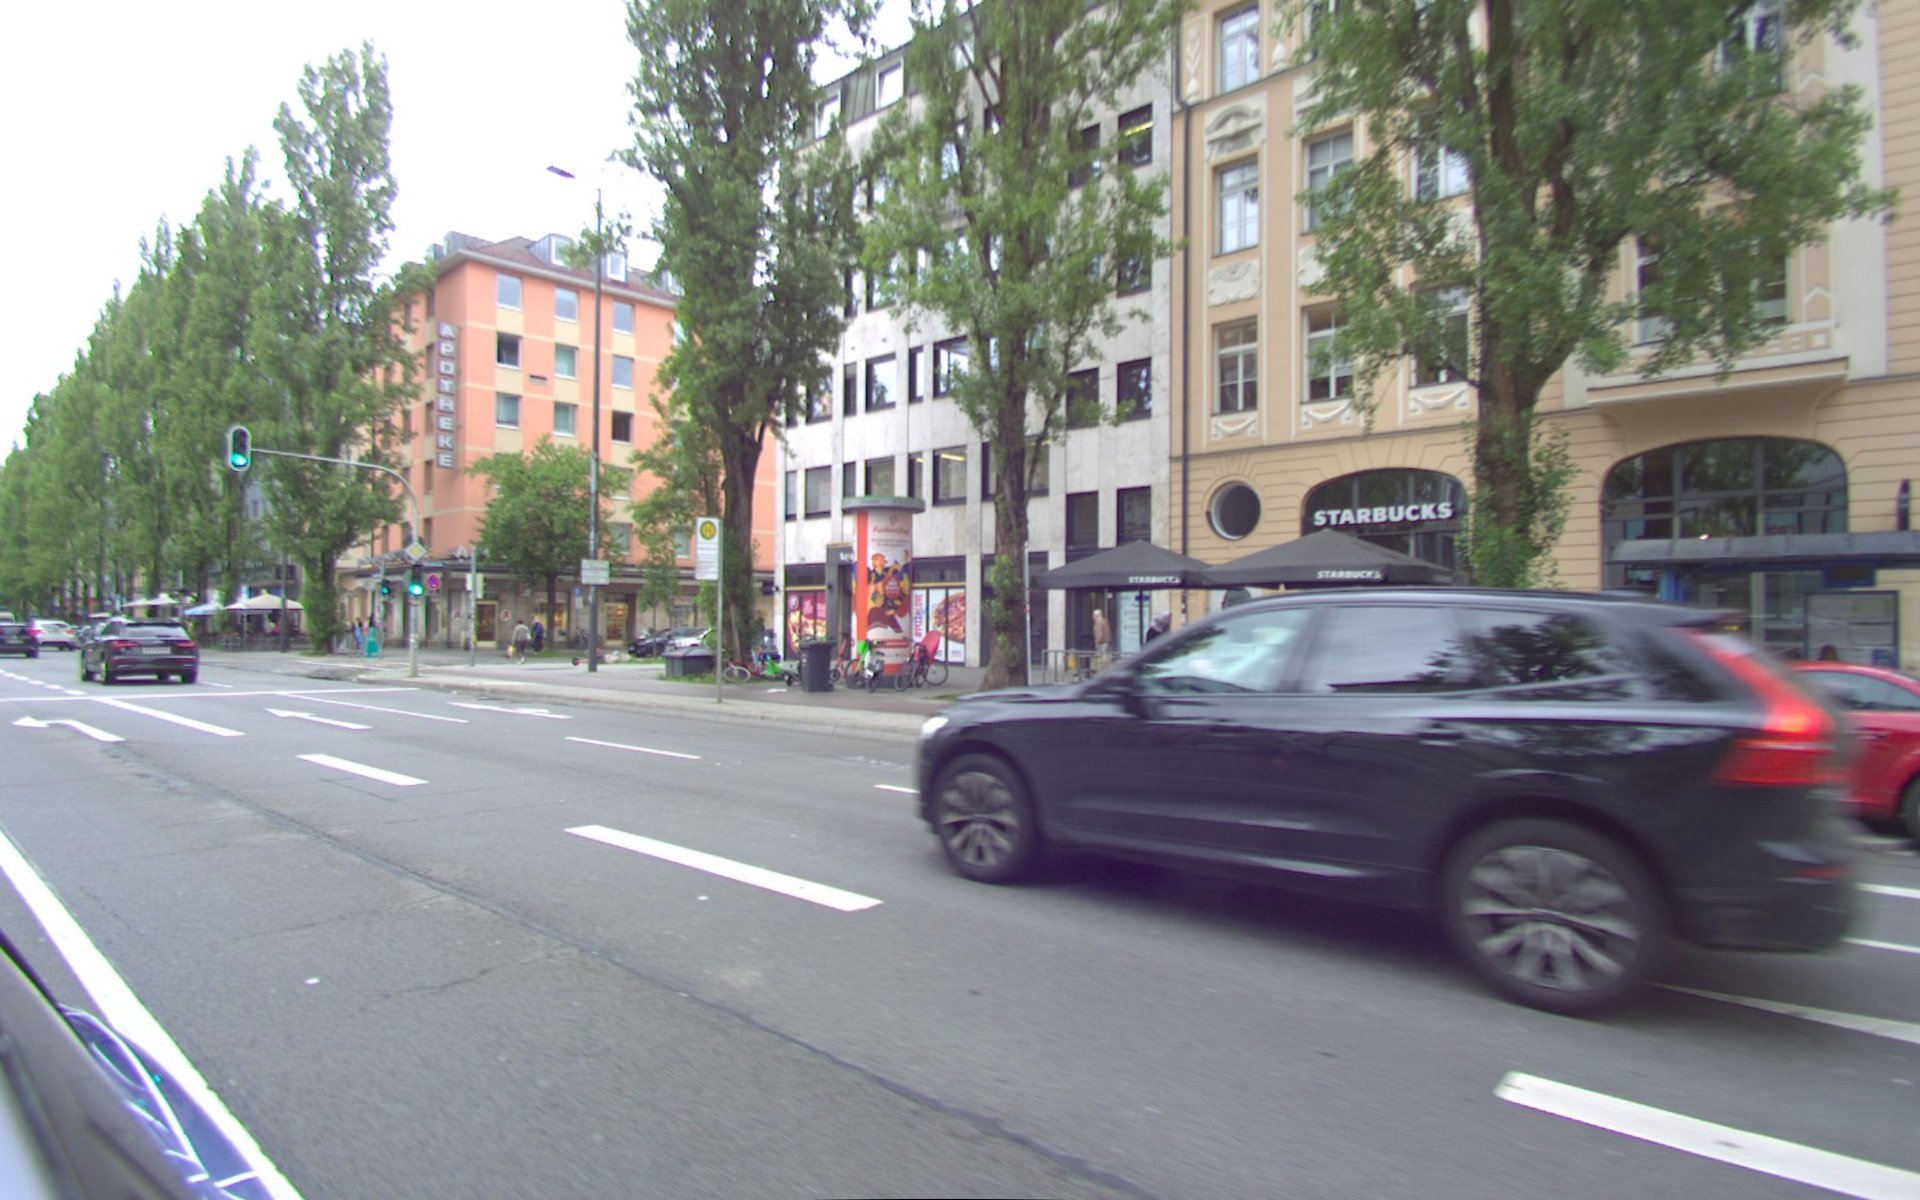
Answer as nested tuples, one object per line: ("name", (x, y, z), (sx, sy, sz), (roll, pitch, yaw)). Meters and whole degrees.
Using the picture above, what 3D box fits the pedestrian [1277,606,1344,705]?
("pedestrian", (6.405, 0.991, 18.481), (0.895, 1.757, 0.821), (1, -2, -44))

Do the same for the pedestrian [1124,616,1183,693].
("pedestrian", (4.097, 1.124, 21.424), (0.989, 1.579, 0.742), (-1, -1, 41))

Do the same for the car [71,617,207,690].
("car", (-20.994, 1.335, 25.823), (4.584, 1.693, 1.893), (-1, -4, 41))

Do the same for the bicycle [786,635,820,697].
("bicycle", (-3.534, 1.460, 22.883), (0.501, 1.299, 1.955), (-1, 0, -1))

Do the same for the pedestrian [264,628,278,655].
("pedestrian", (-44.252, 2.660, 64.961), (0.692, 1.731, 0.549), (-2, -3, 41))

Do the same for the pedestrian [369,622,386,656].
("pedestrian", (-30.422, 2.029, 52.855), (0.519, 1.701, 0.623), (-1, -1, 42))

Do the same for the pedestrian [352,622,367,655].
("pedestrian", (-30.932, 1.989, 52.112), (0.626, 1.683, 0.501), (-2, -2, 43))

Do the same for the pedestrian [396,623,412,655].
("pedestrian", (-29.349, 2.066, 53.448), (0.514, 1.704, 0.580), (-2, -3, 41))

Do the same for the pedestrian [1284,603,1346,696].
("pedestrian", (7.095, 0.972, 20.228), (0.911, 1.801, 0.791), (-2, -1, 42))

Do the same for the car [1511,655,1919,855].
("car", (6.900, 1.138, 8.031), (4.096, 1.308, 1.858), (-1, -3, 44))

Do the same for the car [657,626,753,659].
("car", (-11.733, 1.932, 46.713), (3.937, 1.431, 1.784), (1, -2, -40))

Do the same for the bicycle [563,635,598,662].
("bicycle", (-17.158, 2.163, 45.743), (2.058, 1.193, 0.411), (-1, -2, 35))

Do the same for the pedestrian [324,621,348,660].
("pedestrian", (-28.499, 1.838, 46.243), (0.778, 1.784, 0.716), (-2, -2, 42))

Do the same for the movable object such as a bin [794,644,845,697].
("movable object such as a bin", (-2.927, 1.467, 21.133), (0.847, 1.049, 0.722), (-1, 0, 13))

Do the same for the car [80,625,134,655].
("car", (-47.826, 2.253, 56.738), (4.094, 1.595, 1.685), (-1, -3, 42))

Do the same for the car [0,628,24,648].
("car", (-80.327, 3.198, 85.212), (4.501, 1.645, 1.685), (-1, -3, 41))

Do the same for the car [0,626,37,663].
("car", (-40.728, 1.891, 43.161), (3.692, 1.507, 1.545), (-1, -3, 41))

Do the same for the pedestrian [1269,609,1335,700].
("pedestrian", (6.615, 1.034, 19.569), (0.977, 1.694, 0.724), (-2, -1, 41))

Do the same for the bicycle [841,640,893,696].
("bicycle", (-1.999, 1.429, 21.608), (0.499, 1.096, 1.815), (0, 0, -25))

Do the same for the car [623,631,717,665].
("car", (-13.793, 2.240, 48.178), (3.937, 1.431, 1.785), (0, 0, -40))

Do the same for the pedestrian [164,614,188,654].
("pedestrian", (-35.804, 1.541, 46.230), (0.725, 1.809, 0.995), (0, -1, -30))

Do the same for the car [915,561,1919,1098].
("car", (2.001, 0.782, 5.209), (4.334, 1.636, 1.915), (-1, -4, 41))

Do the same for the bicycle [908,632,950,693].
("bicycle", (-0.679, 1.365, 22.666), (0.579, 1.311, 1.948), (0, -2, 10))

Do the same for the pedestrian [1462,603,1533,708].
("pedestrian", (9.315, 0.947, 17.540), (0.895, 1.757, 0.821), (2, -2, -44))

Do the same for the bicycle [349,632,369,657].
("bicycle", (-27.781, 2.059, 46.773), (1.373, 1.150, 0.416), (-1, -2, 43))

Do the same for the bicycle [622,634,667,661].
("bicycle", (-15.366, 2.309, 49.364), (2.031, 1.193, 0.538), (0, -1, -41))

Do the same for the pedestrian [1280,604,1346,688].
("pedestrian", (7.438, 0.948, 21.323), (0.988, 1.697, 1.070), (-1, -1, 40))

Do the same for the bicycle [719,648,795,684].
("bicycle", (-5.041, 1.638, 25.315), (0.827, 0.514, 1.939), (22, 8, 22))

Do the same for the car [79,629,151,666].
("car", (-35.433, 1.969, 42.410), (3.995, 1.450, 1.624), (-1, -3, 41))

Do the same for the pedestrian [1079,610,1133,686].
("pedestrian", (3.487, 1.118, 24.191), (0.954, 1.757, 0.834), (-1, -1, 42))

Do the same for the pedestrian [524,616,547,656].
("pedestrian", (-19.522, 1.648, 46.548), (0.692, 1.780, 0.770), (-2, -2, 41))

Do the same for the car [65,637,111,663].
("car", (-51.843, 2.961, 60.143), (4.185, 1.392, 1.478), (-1, -3, 41))

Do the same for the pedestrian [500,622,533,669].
("pedestrian", (-15.942, 1.624, 36.381), (0.934, 1.631, 0.770), (-2, -3, 41))

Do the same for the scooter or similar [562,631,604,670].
("scooter or similar", (-13.306, 1.784, 35.740), (1.341, 1.349, 0.439), (1, -2, -28))

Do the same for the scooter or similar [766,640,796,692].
("scooter or similar", (-4.068, 1.477, 23.054), (0.384, 1.122, 1.562), (0, -2, 1))

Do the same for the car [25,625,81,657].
("car", (-51.182, 2.310, 57.070), (4.634, 1.729, 1.817), (-1, -3, 42))

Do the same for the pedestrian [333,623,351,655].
("pedestrian", (-31.307, 1.978, 51.295), (0.548, 1.595, 0.649), (-1, -2, 43))
